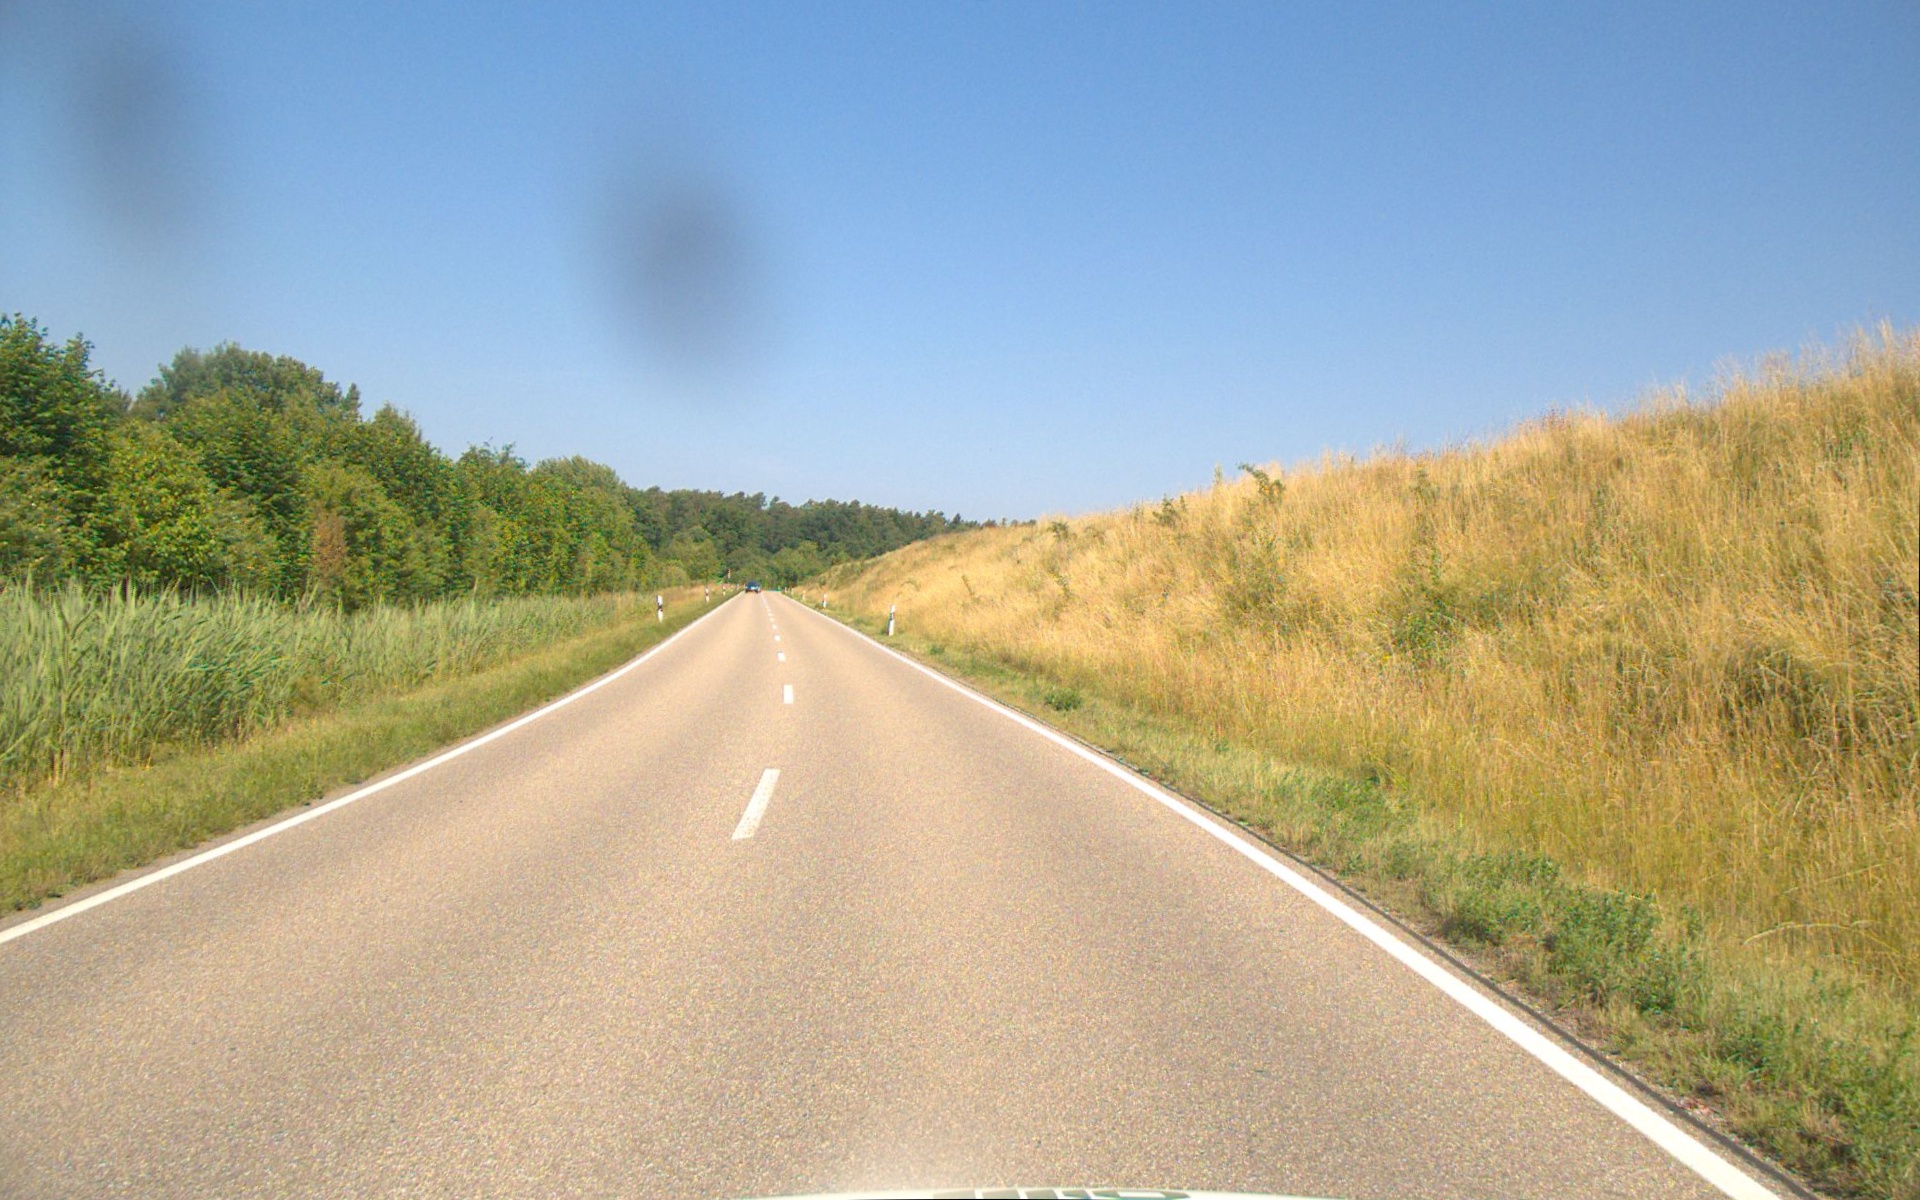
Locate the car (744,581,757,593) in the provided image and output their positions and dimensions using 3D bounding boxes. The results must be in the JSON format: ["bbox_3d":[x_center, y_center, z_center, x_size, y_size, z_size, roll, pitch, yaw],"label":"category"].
[{"bbox_3d":[-29.545,-1.820,233.269,1.684,1.675,3.908,2,0,-8],"label":"car"}]
